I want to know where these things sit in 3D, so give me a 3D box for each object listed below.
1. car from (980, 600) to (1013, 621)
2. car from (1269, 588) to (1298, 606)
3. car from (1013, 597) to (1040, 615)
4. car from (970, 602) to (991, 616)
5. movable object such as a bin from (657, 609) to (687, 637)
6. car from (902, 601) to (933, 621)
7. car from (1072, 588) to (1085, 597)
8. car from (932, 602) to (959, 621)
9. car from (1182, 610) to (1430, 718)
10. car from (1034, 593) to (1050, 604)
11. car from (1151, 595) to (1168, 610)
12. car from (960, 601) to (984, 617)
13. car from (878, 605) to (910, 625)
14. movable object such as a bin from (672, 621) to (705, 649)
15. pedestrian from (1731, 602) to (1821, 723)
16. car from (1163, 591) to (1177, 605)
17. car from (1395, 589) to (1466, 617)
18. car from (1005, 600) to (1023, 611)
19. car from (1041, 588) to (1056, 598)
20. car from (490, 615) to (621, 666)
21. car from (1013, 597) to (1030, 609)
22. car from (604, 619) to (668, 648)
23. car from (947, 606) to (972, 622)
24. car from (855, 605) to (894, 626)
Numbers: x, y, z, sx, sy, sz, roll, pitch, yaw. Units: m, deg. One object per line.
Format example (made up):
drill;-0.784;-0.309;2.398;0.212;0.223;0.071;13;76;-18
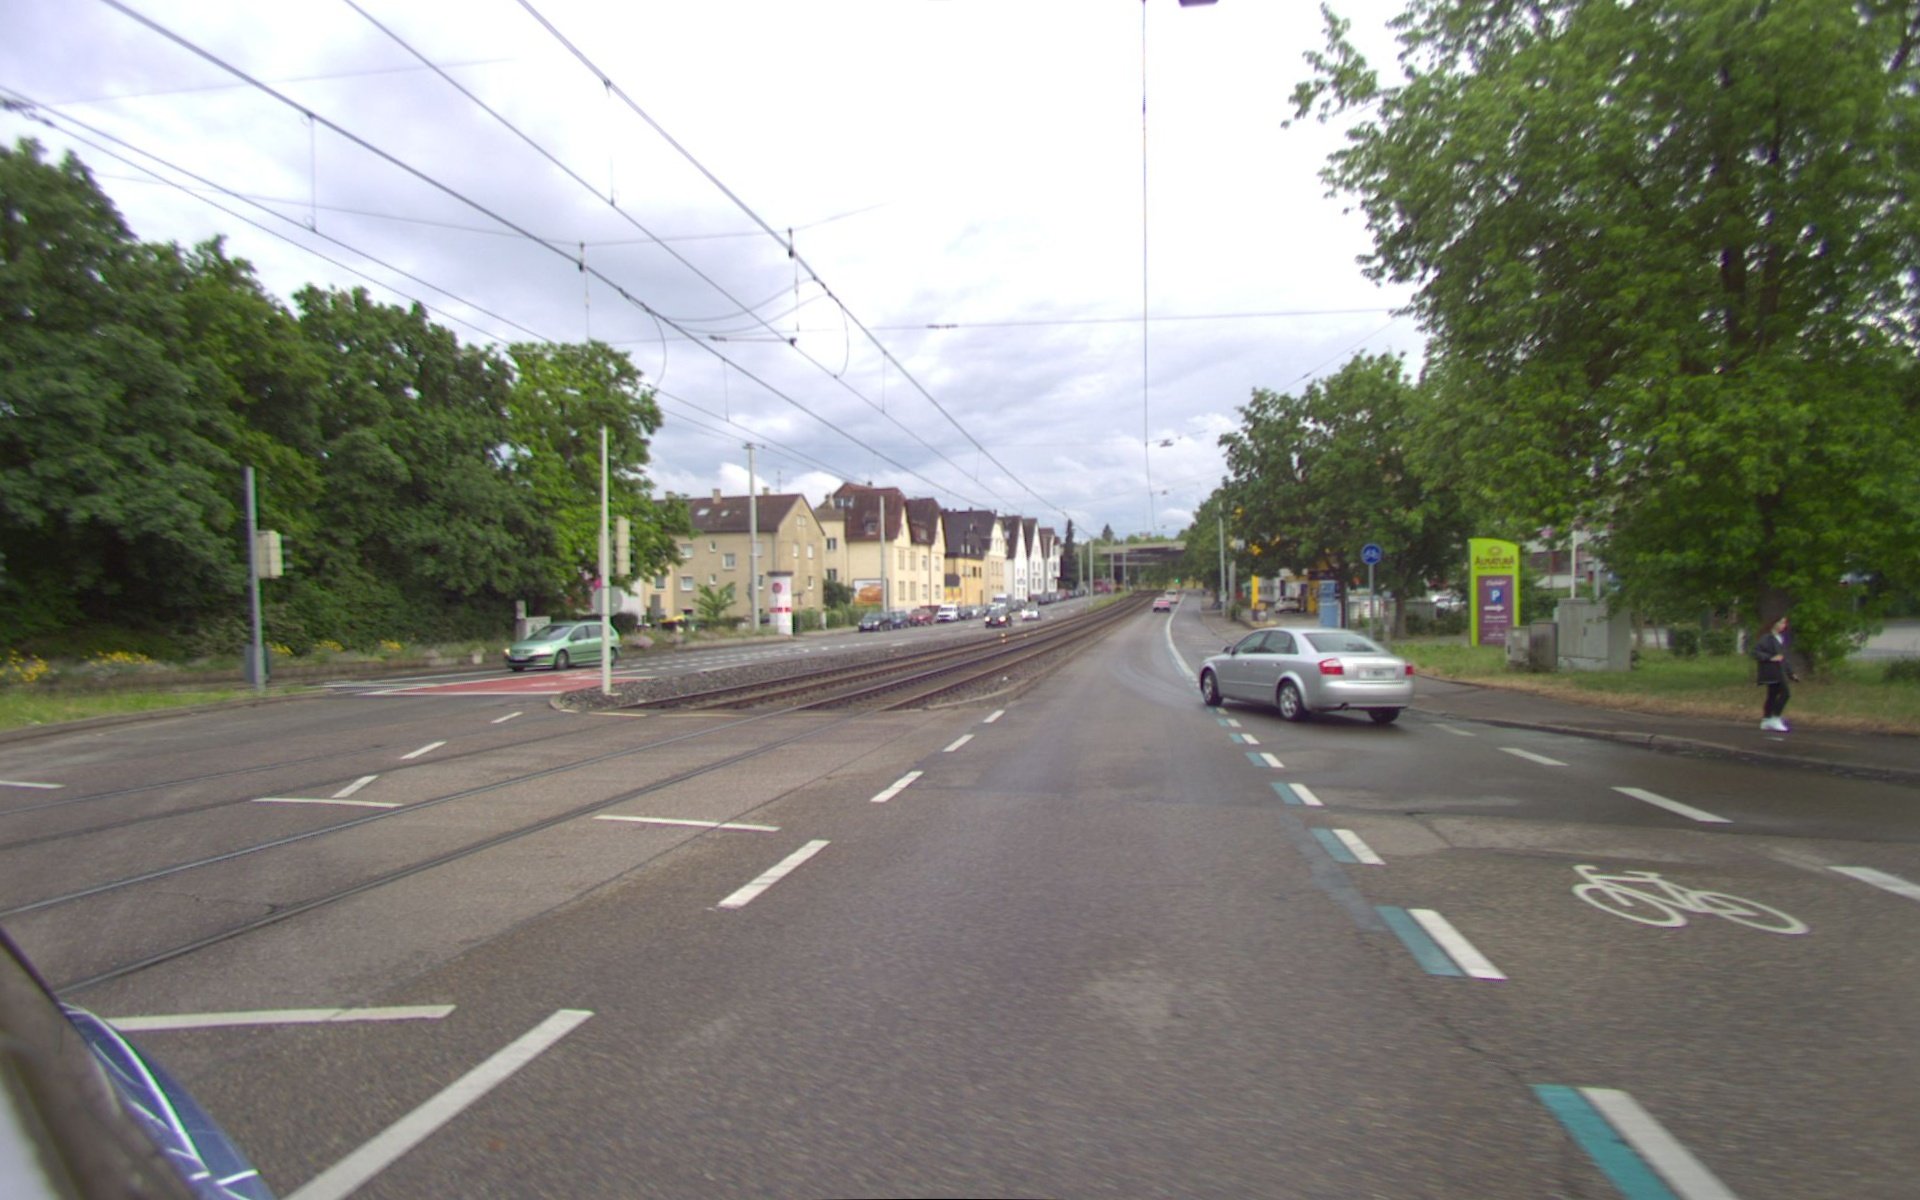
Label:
car;2.885;0.814;79.355;1.870;1.435;4.185;-3;1;12
car;27.989;-0.244;87.728;1.756;1.426;4.064;-3;0;10
car;6.376;0.554;96.565;1.870;1.435;4.185;-3;1;12
car;2.364;1.045;118.424;1.591;1.412;3.774;-3;0;14
movable object such as a bin;-16.052;1.291;56.386;1.175;1.428;1.131;-3;1;11
car;-3.902;1.009;92.931;1.824;1.640;4.083;-3;0;13
car;22.917;-1.482;195.746;1.712;1.559;4.180;-3;1;15
car;-1.445;1.154;102.489;1.834;1.770;4.506;-3;0;11
car;5.335;0.939;16.287;1.565;1.448;4.439;3;-2;-14
car;12.927;-0.250;158.890;1.712;1.559;4.180;-3;1;15
car;23.674;0.309;120.150;1.979;1.662;4.742;0;0;11
car;1.357;0.986;113.447;1.690;1.578;4.263;-3;1;14
car;-5.548;1.260;85.510;1.655;1.454;3.915;-3;0;11
movable object such as a bin;-15.597;2.009;58.150;1.301;1.428;1.296;-3;1;11
pedestrian;10.916;0.818;13.556;0.583;1.543;0.670;-3;1;-17
car;31.570;-0.346;151.870;1.980;2.029;5.040;1;0;12
car;29.427;0.220;63.411;1.677;1.600;3.607;-4;1;-40
car;7.216;0.719;135.018;1.710;1.355;4.069;-3;1;12
car;14.335;-1.157;164.071;1.712;1.559;4.180;-3;1;15
car;-12.855;1.244;32.454;1.870;1.460;4.184;-2;-1;12
car;8.665;0.410;141.385;1.710;1.355;4.185;-3;1;12
car;-24.839;2.598;77.708;4.245;1.808;1.872;-5;1;13
car;-0.034;1.457;107.189;1.676;1.523;4.118;-3;0;14
car;-6.675;1.196;79.521;1.824;1.545;4.422;-3;0;12
